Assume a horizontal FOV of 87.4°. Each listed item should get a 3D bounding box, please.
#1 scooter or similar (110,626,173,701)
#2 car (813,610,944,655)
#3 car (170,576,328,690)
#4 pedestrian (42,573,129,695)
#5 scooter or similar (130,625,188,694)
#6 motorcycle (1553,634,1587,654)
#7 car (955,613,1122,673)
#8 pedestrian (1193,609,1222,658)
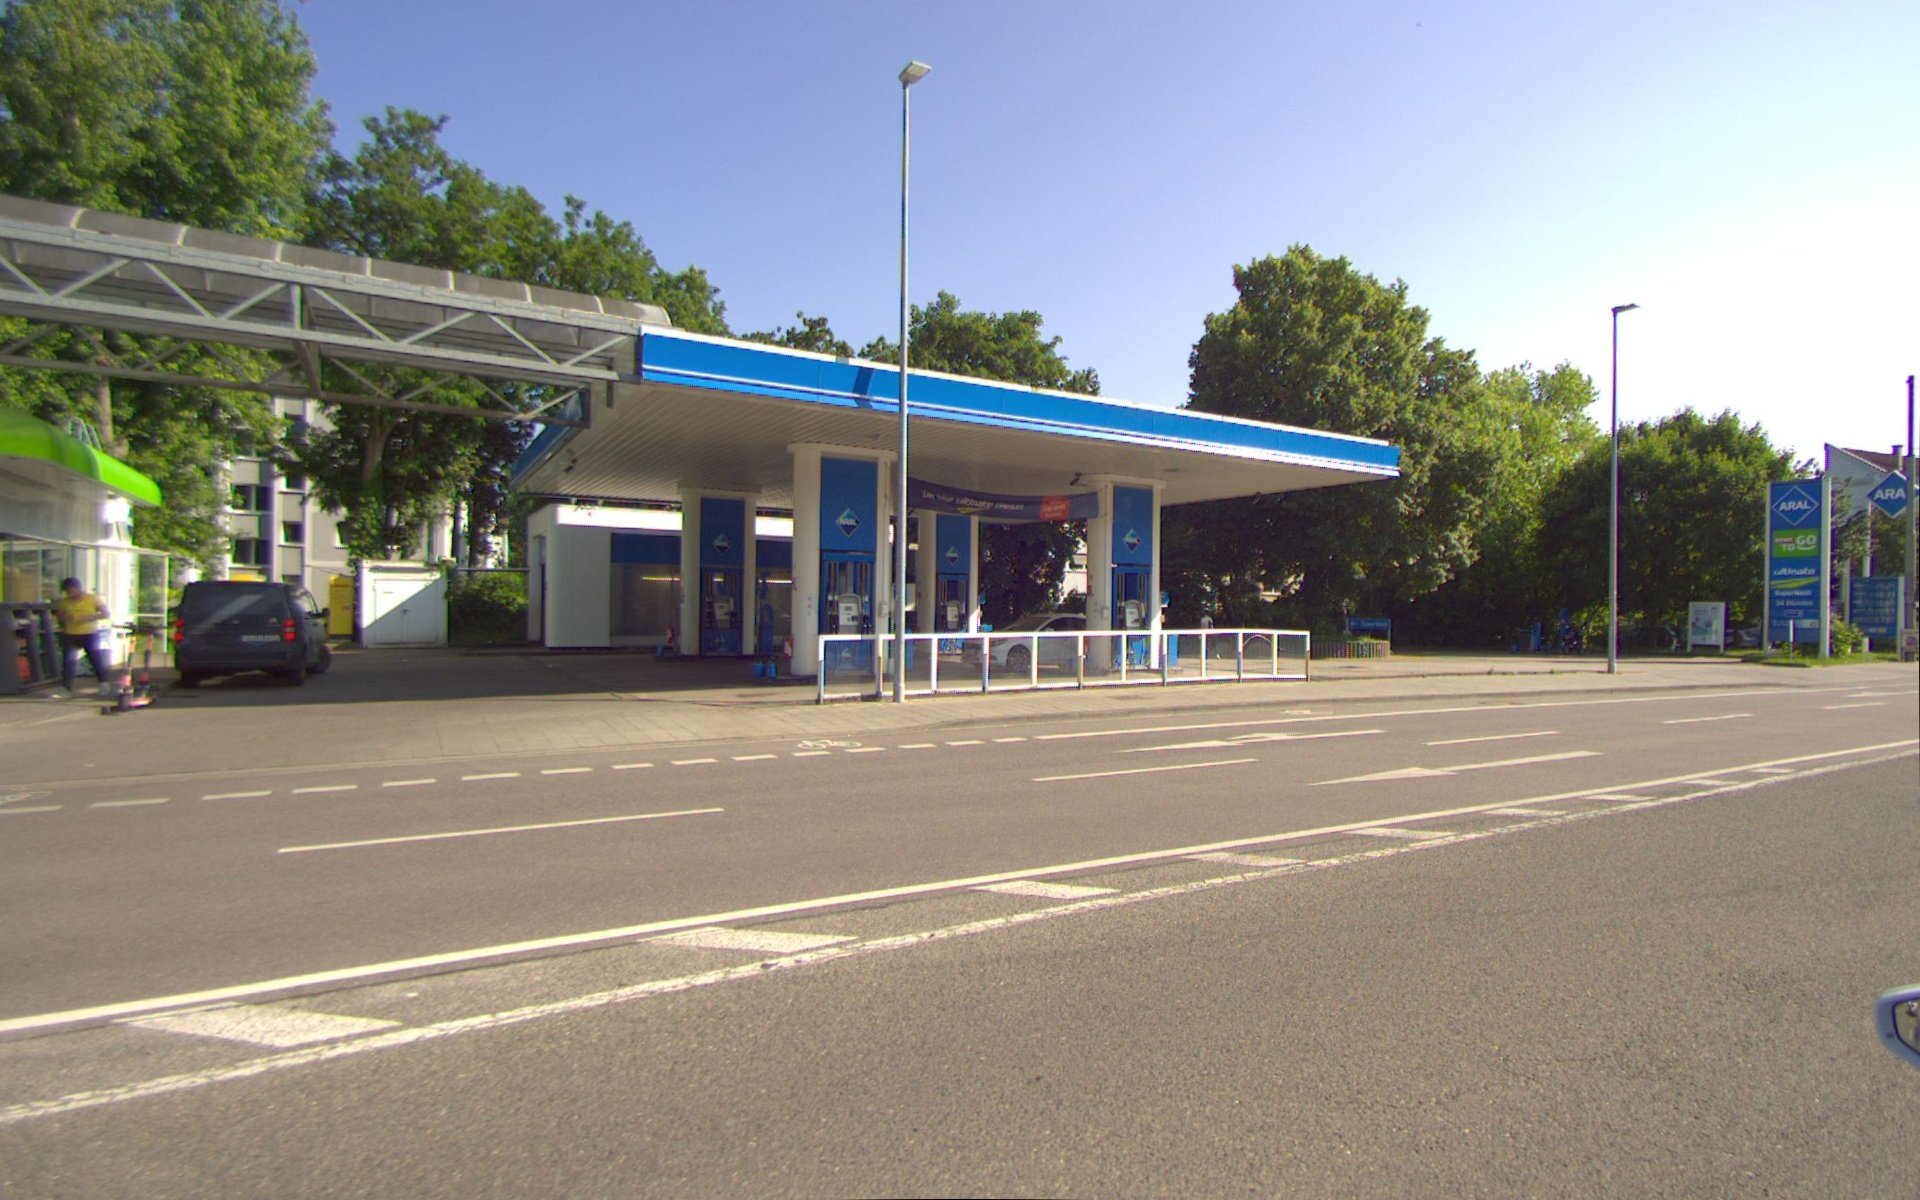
[{"bbox_3d":[-11.567,0.878,14.224,0.494,1.000,1.253,1,-1,-30],"label":"scooter or similar"},{"bbox_3d":[-2.726,1.070,33.729,4.076,1.412,1.734,1,-1,-33],"label":"car"},{"bbox_3d":[-13.730,0.593,19.677,1.975,1.961,4.518,1,-1,-29],"label":"car"},{"bbox_3d":[-13.053,0.503,15.022,0.774,1.768,0.766,1,-1,-25],"label":"pedestrian"},{"bbox_3d":[-12.250,0.885,15.381,0.494,0.998,1.332,1,-1,-30],"label":"scooter or similar"},{"bbox_3d":[28.010,2.016,46.119,1.652,0.913,0.667,1,-1,-31],"label":"motorcycle"},{"bbox_3d":[2.050,1.066,25.734,4.076,1.412,1.734,1,-1,-33],"label":"car"},{"bbox_3d":[8.996,1.215,36.542,0.844,1.751,0.655,1,-1,-43],"label":"pedestrian"}]
